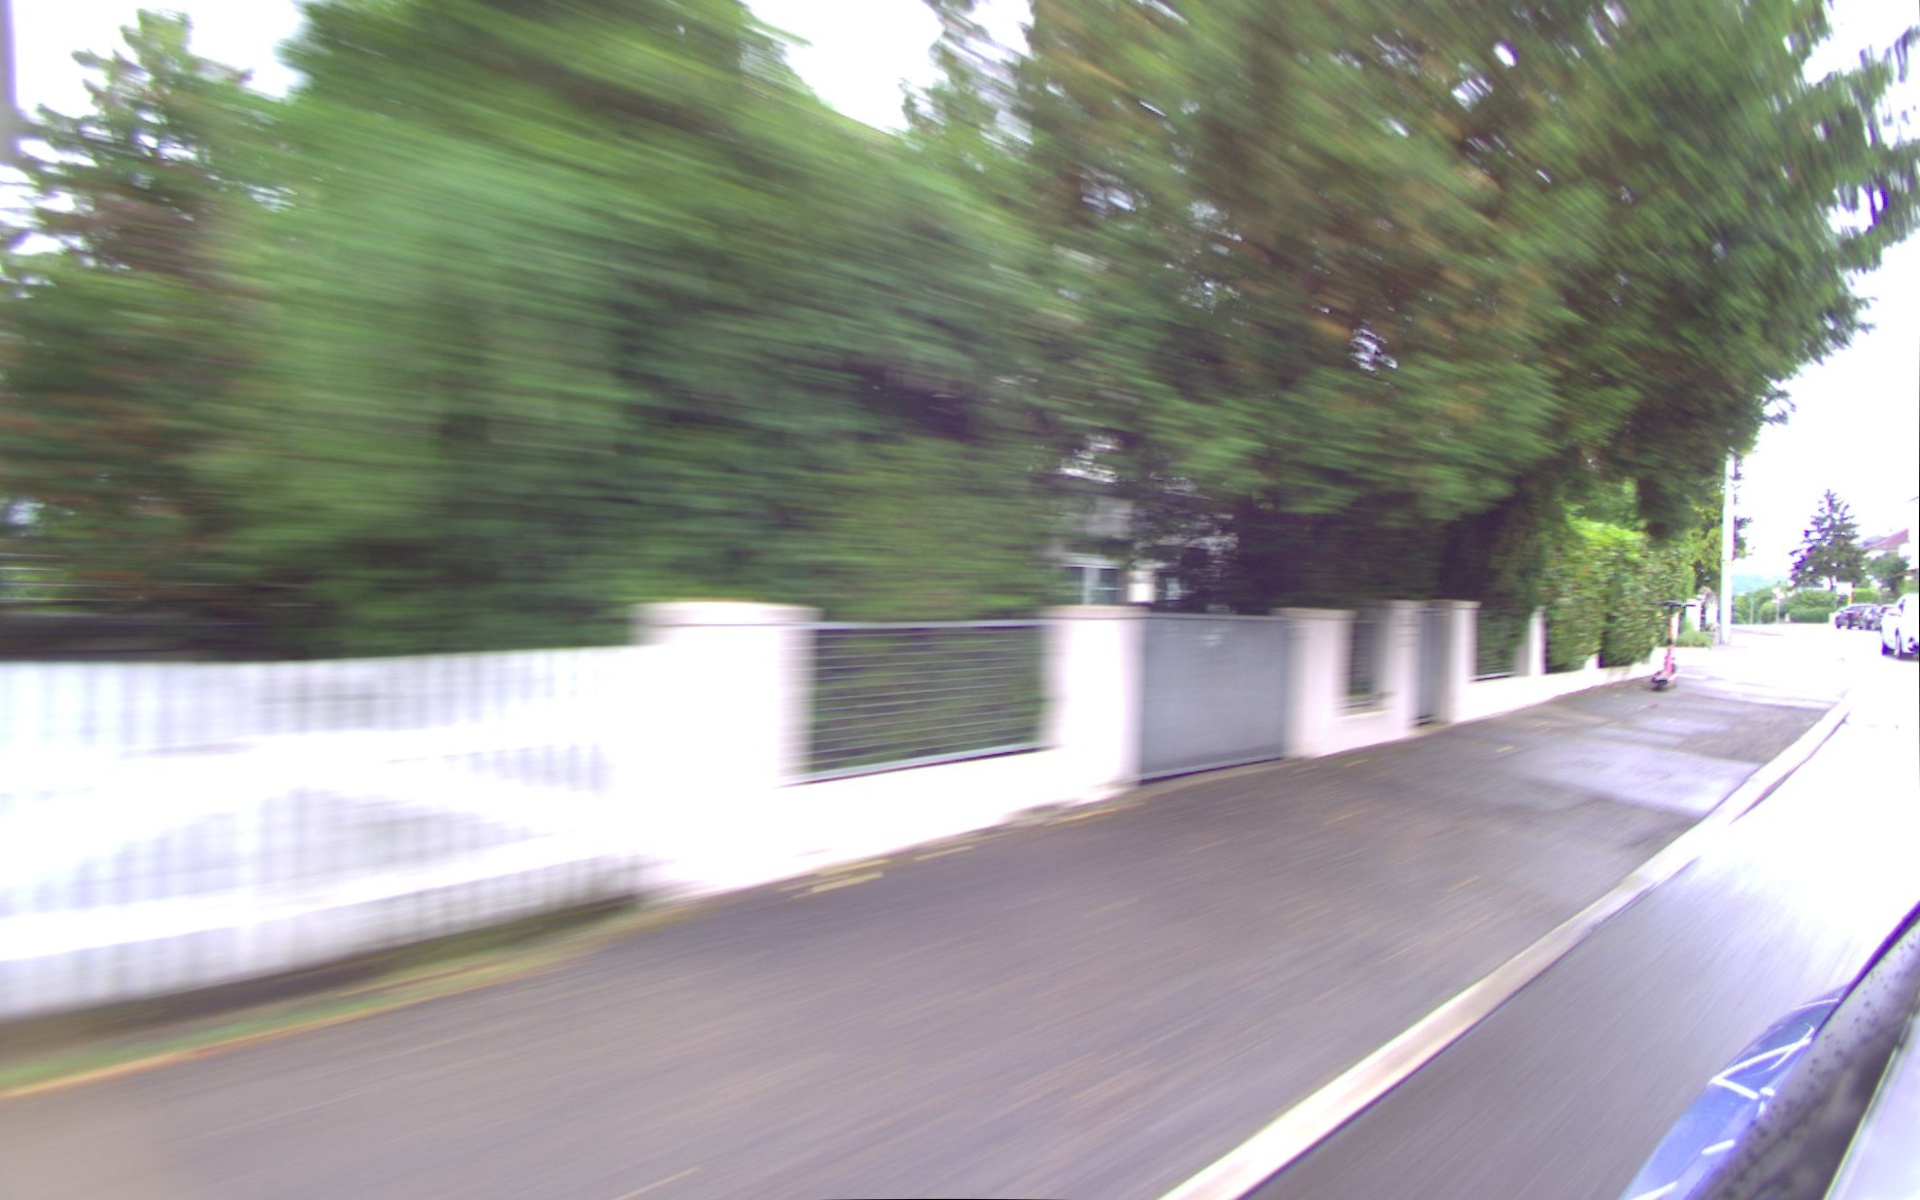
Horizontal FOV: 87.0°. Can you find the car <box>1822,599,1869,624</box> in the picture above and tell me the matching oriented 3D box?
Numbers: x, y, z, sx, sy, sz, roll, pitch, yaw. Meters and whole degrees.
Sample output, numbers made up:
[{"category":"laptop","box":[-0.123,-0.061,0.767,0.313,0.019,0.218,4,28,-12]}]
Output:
[{"category":"car","box":[57.025,0.766,65.233,1.887,1.465,3.764,1,-2,35]}]

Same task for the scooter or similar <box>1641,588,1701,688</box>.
[{"category":"scooter or similar","box":[9.954,0.496,14.150,0.449,1.323,1.458,3,2,43]}]

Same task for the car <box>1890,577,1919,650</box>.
[{"category":"car","box":[24.855,0.352,25.382,1.857,1.736,3.946,1,0,37]}]

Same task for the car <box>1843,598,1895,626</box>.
[{"category":"car","box":[52.988,0.704,59.070,1.690,1.561,3.768,1,0,33]}]
